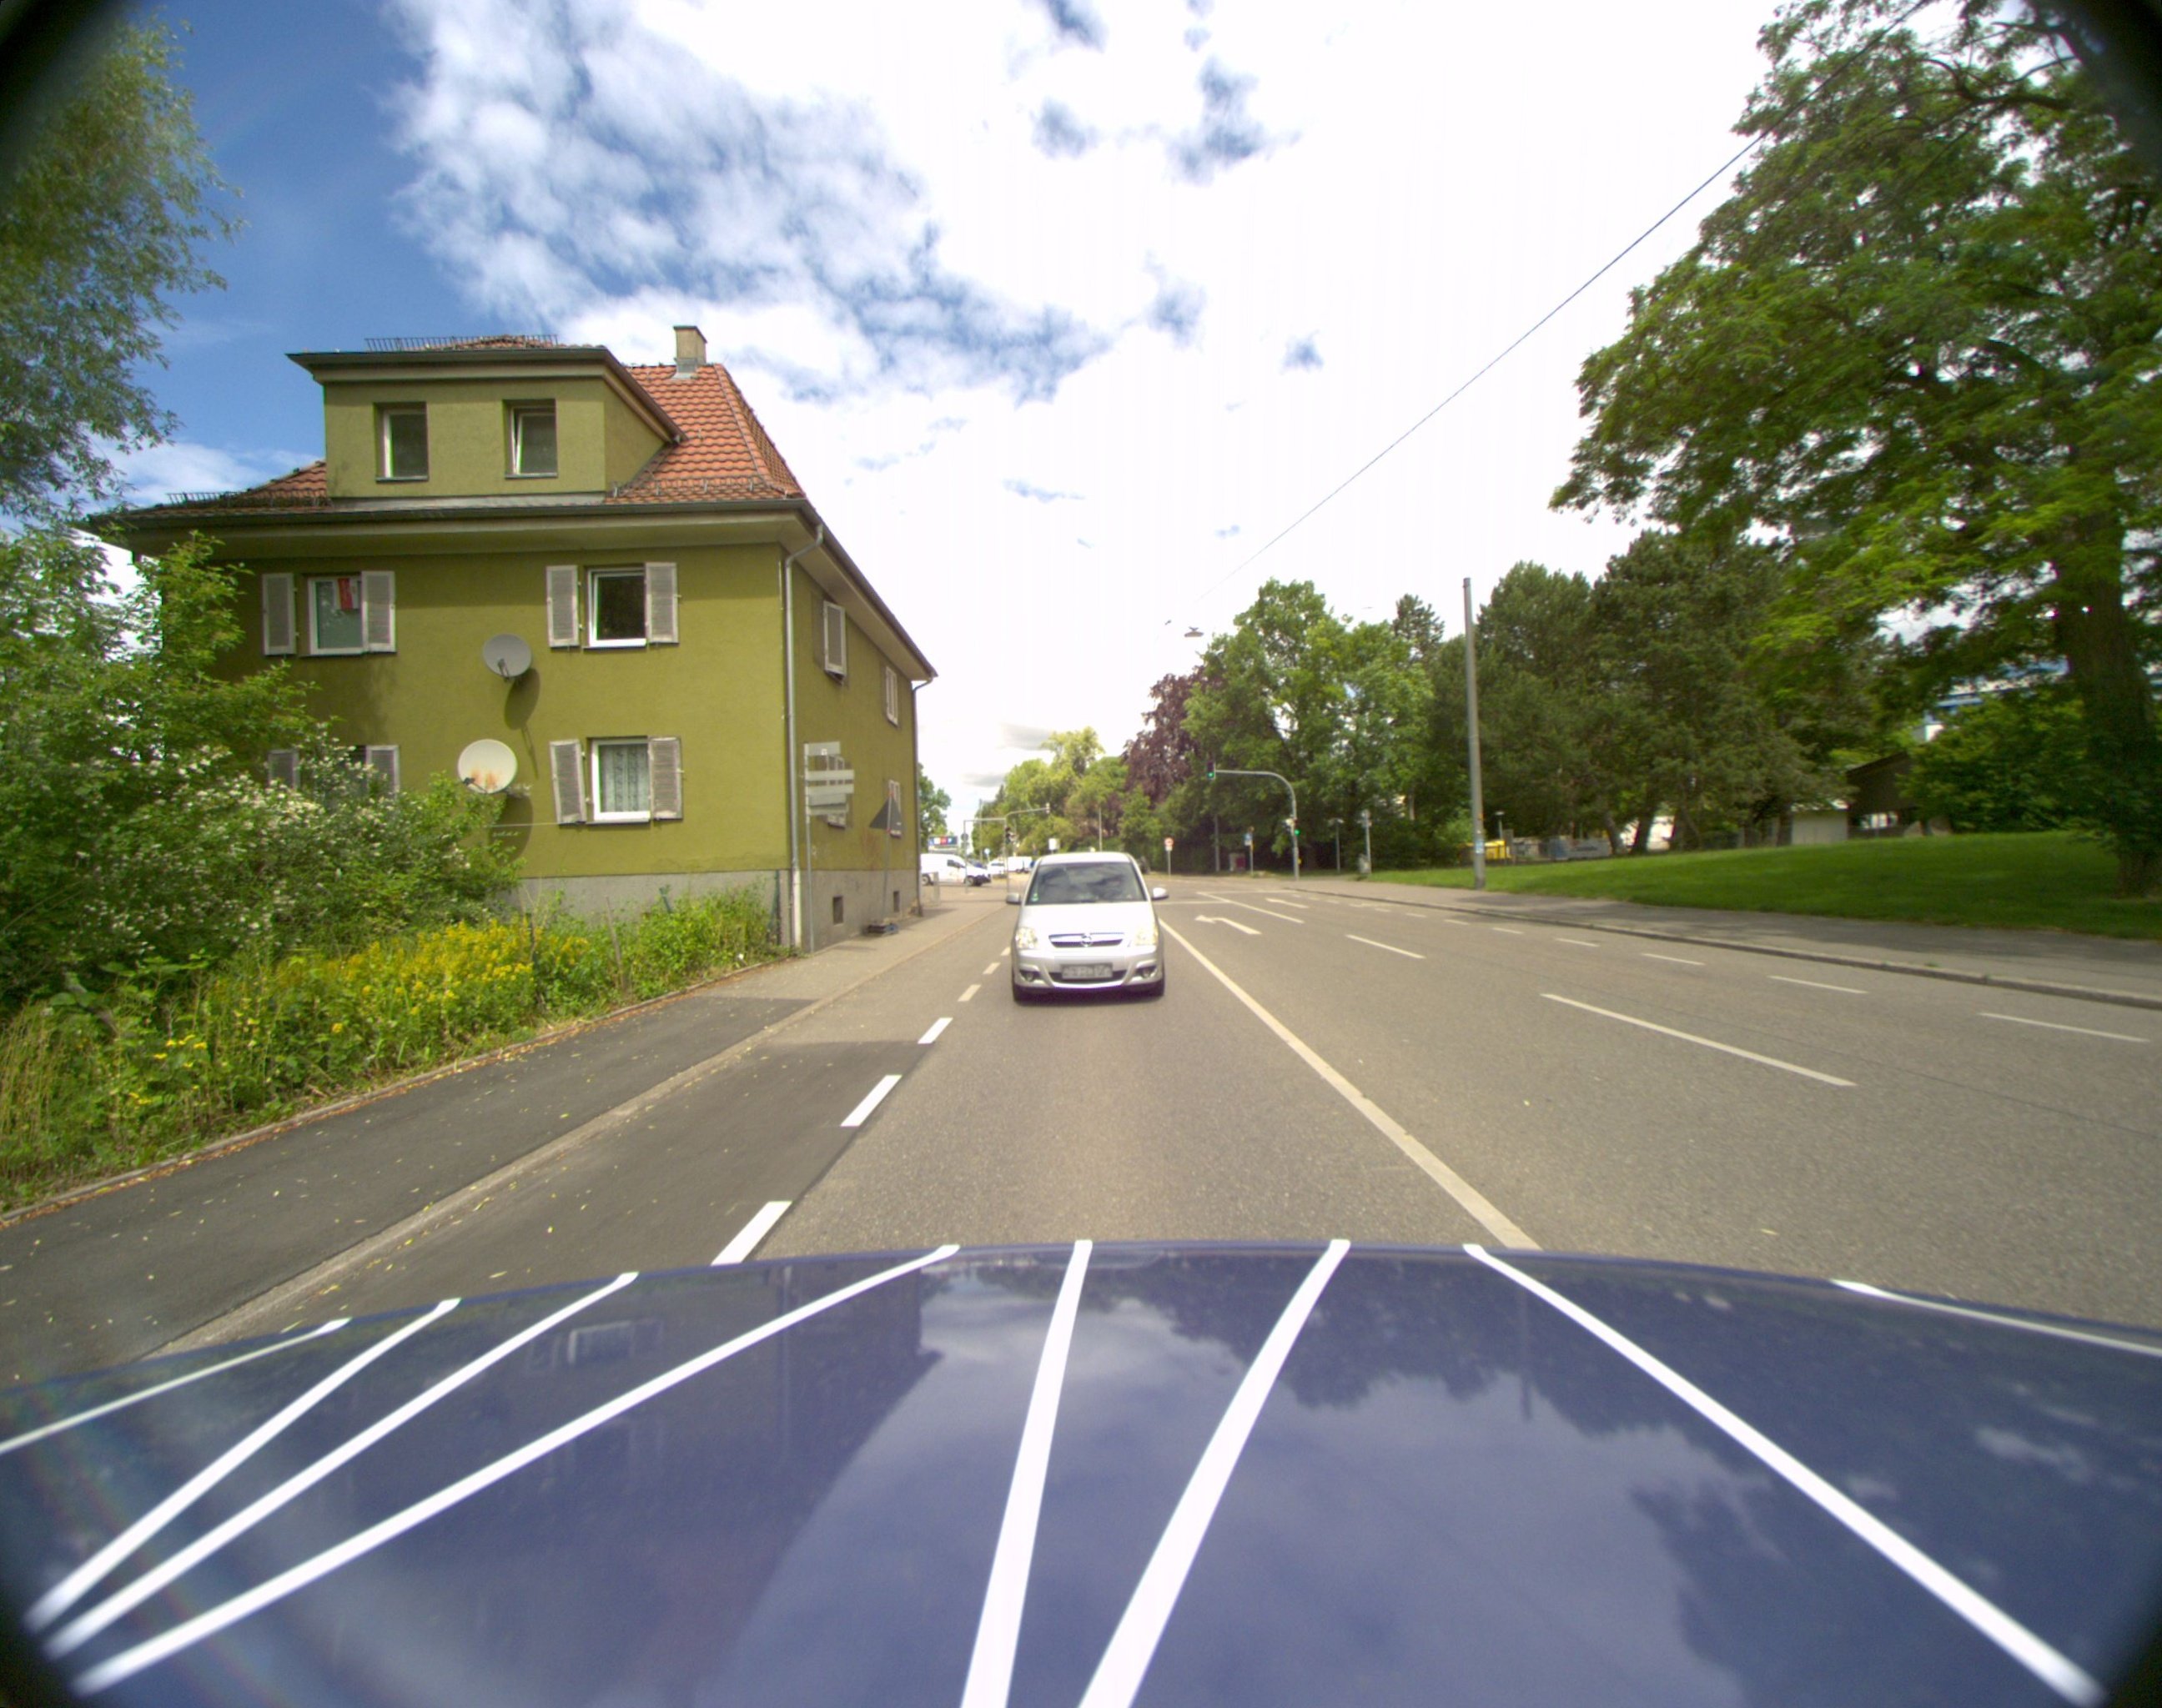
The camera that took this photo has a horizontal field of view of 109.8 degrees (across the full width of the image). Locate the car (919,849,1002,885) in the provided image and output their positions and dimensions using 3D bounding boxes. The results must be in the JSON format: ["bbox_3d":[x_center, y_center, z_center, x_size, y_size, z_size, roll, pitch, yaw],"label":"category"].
[{"bbox_3d":[-7.016,0.755,44.470,4.364,1.983,2.001,-1,1,9],"label":"car"}]

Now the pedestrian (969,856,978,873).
[{"bbox_3d":[-10.905,1.058,77.044,0.723,1.651,0.777,-4,1,-4],"label":"pedestrian"}]

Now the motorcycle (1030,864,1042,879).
[{"bbox_3d":[-3.429,1.337,57.925,0.837,1.101,1.800,0,0,-1],"label":"motorcycle"}]

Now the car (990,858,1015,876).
[{"bbox_3d":[-7.076,1.160,68.972,1.799,1.501,3.999,-2,1,0],"label":"car"}]

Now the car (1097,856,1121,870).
[{"bbox_3d":[2.998,0.944,81.905,1.900,1.501,3.998,-1,0,-7],"label":"car"}]

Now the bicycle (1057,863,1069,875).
[{"bbox_3d":[-1.754,1.402,72.837,0.814,1.101,1.798,-4,0,-12],"label":"bicycle"}]

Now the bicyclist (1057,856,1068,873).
[{"bbox_3d":[-1.760,1.006,72.786,0.808,1.599,0.771,-4,1,-12],"label":"bicyclist"}]

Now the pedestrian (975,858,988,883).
[{"bbox_3d":[-6.377,1.062,48.677,0.729,1.543,1.056,-2,0,-10],"label":"pedestrian"}]

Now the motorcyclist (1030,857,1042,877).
[{"bbox_3d":[-3.427,0.986,57.903,0.837,1.547,0.650,0,1,-1],"label":"motorcyclist"}]

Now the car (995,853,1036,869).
[{"bbox_3d":[-7.654,0.851,89.189,4.492,1.787,1.803,0,1,24],"label":"car"}]

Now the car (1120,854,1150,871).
[{"bbox_3d":[4.754,0.738,67.552,1.900,1.501,3.998,-1,0,-7],"label":"car"}]

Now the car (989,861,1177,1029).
[{"bbox_3d":[0.061,0.906,9.354,1.780,1.519,4.000,-2,0,1],"label":"car"}]

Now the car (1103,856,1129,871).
[{"bbox_3d":[3.527,0.975,77.239,1.900,1.501,3.998,-1,0,-7],"label":"car"}]
